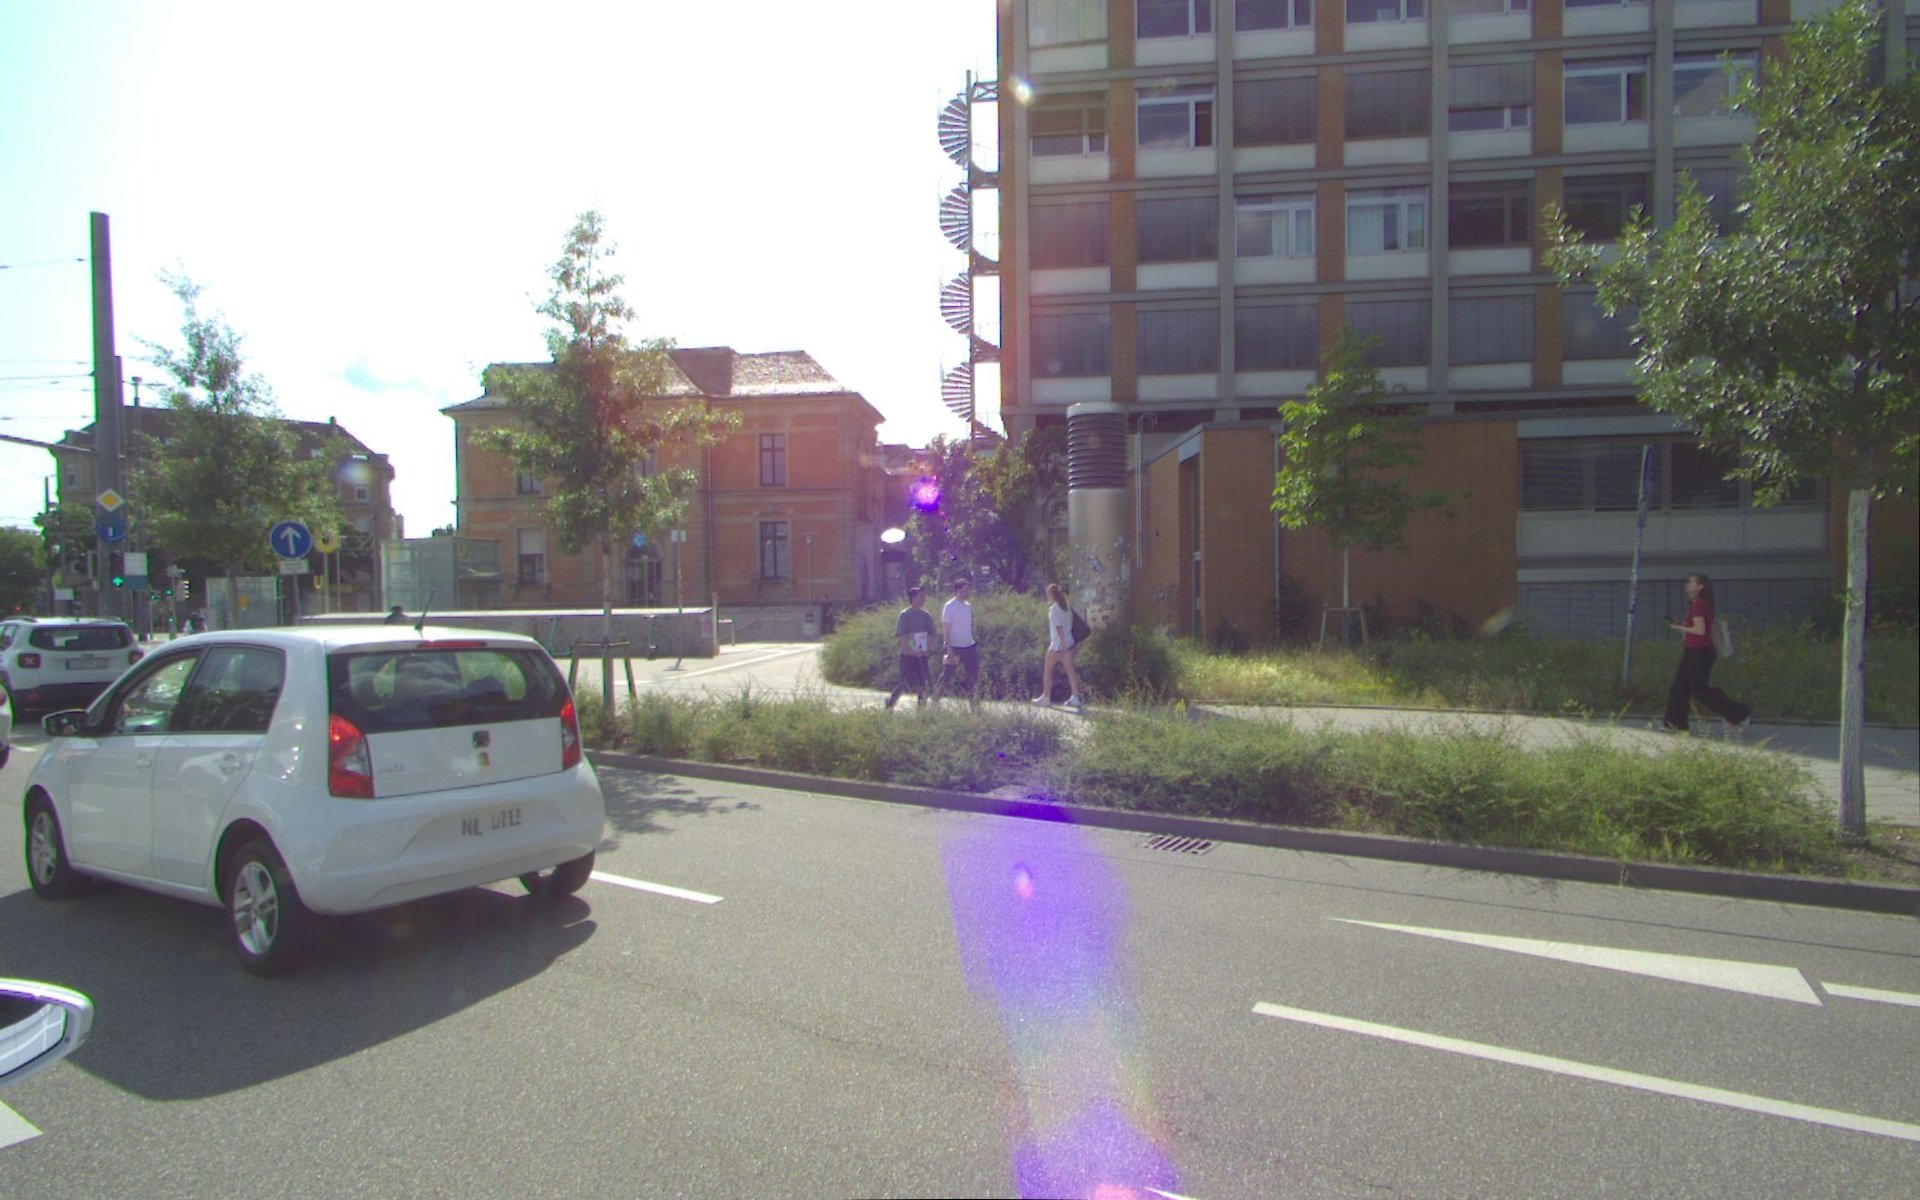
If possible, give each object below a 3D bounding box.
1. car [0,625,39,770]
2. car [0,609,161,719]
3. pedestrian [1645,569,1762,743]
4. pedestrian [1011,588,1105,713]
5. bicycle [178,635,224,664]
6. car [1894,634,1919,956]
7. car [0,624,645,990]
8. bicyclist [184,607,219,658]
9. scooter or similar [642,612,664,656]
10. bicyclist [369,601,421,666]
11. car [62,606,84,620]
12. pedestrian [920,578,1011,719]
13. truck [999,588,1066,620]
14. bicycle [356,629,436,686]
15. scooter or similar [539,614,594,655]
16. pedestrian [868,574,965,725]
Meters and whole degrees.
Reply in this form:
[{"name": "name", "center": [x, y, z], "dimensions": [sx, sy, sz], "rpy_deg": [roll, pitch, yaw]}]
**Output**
[{"name": "car", "center": [-11.347, 0.994, 10.481], "dimensions": [3.631, 1.437, 1.844], "rpy_deg": [-1, -1, 36]}, {"name": "car", "center": [-15.424, 1.028, 17.205], "dimensions": [3.951, 1.673, 1.829], "rpy_deg": [-2, -1, 39]}, {"name": "pedestrian", "center": [7.377, 0.536, 9.976], "dimensions": [0.877, 1.645, 0.612], "rpy_deg": [-1, 3, 32]}, {"name": "pedestrian", "center": [1.351, 0.676, 13.859], "dimensions": [1.082, 1.645, 0.611], "rpy_deg": [-1, 3, 36]}, {"name": "bicycle", "center": [-22.285, 1.446, 29.392], "dimensions": [1.599, 0.786, 0.583], "rpy_deg": [-1, 0, 34]}, {"name": "car", "center": [5.662, 0.815, 2.860], "dimensions": [4.070, 1.390, 1.697], "rpy_deg": [-1, 0, 30]}, {"name": "car", "center": [-3.804, 0.871, 5.682], "dimensions": [3.941, 1.440, 1.647], "rpy_deg": [-1, -2, 31]}, {"name": "bicyclist", "center": [-22.254, 0.956, 29.382], "dimensions": [0.763, 1.470, 0.606], "rpy_deg": [0, 0, 34]}, {"name": "scooter or similar", "center": [-8.341, 0.909, 27.227], "dimensions": [0.457, 1.119, 1.316], "rpy_deg": [-1, 1, -13]}, {"name": "bicyclist", "center": [-11.202, 0.652, 19.844], "dimensions": [0.914, 1.237, 0.631], "rpy_deg": [1, 3, 44]}, {"name": "car", "center": [-116.117, 1.702, 131.144], "dimensions": [1.820, 1.673, 3.971], "rpy_deg": [0, -1, -37]}, {"name": "pedestrian", "center": [0.080, 0.611, 13.245], "dimensions": [0.879, 1.770, 0.738], "rpy_deg": [0, 3, 40]}, {"name": "truck", "center": [4.916, 0.279, 67.487], "dimensions": [4.304, 2.039, 2.000], "rpy_deg": [0, -2, 11]}, {"name": "bicycle", "center": [-11.231, 1.119, 19.925], "dimensions": [1.940, 0.983, 0.841], "rpy_deg": [0, 3, 44]}, {"name": "scooter or similar", "center": [-11.252, 0.985, 28.606], "dimensions": [1.420, 1.133, 0.465], "rpy_deg": [0, 2, 13]}, {"name": "pedestrian", "center": [-0.539, 0.595, 12.450], "dimensions": [0.879, 1.778, 0.738], "rpy_deg": [0, 3, 40]}]
